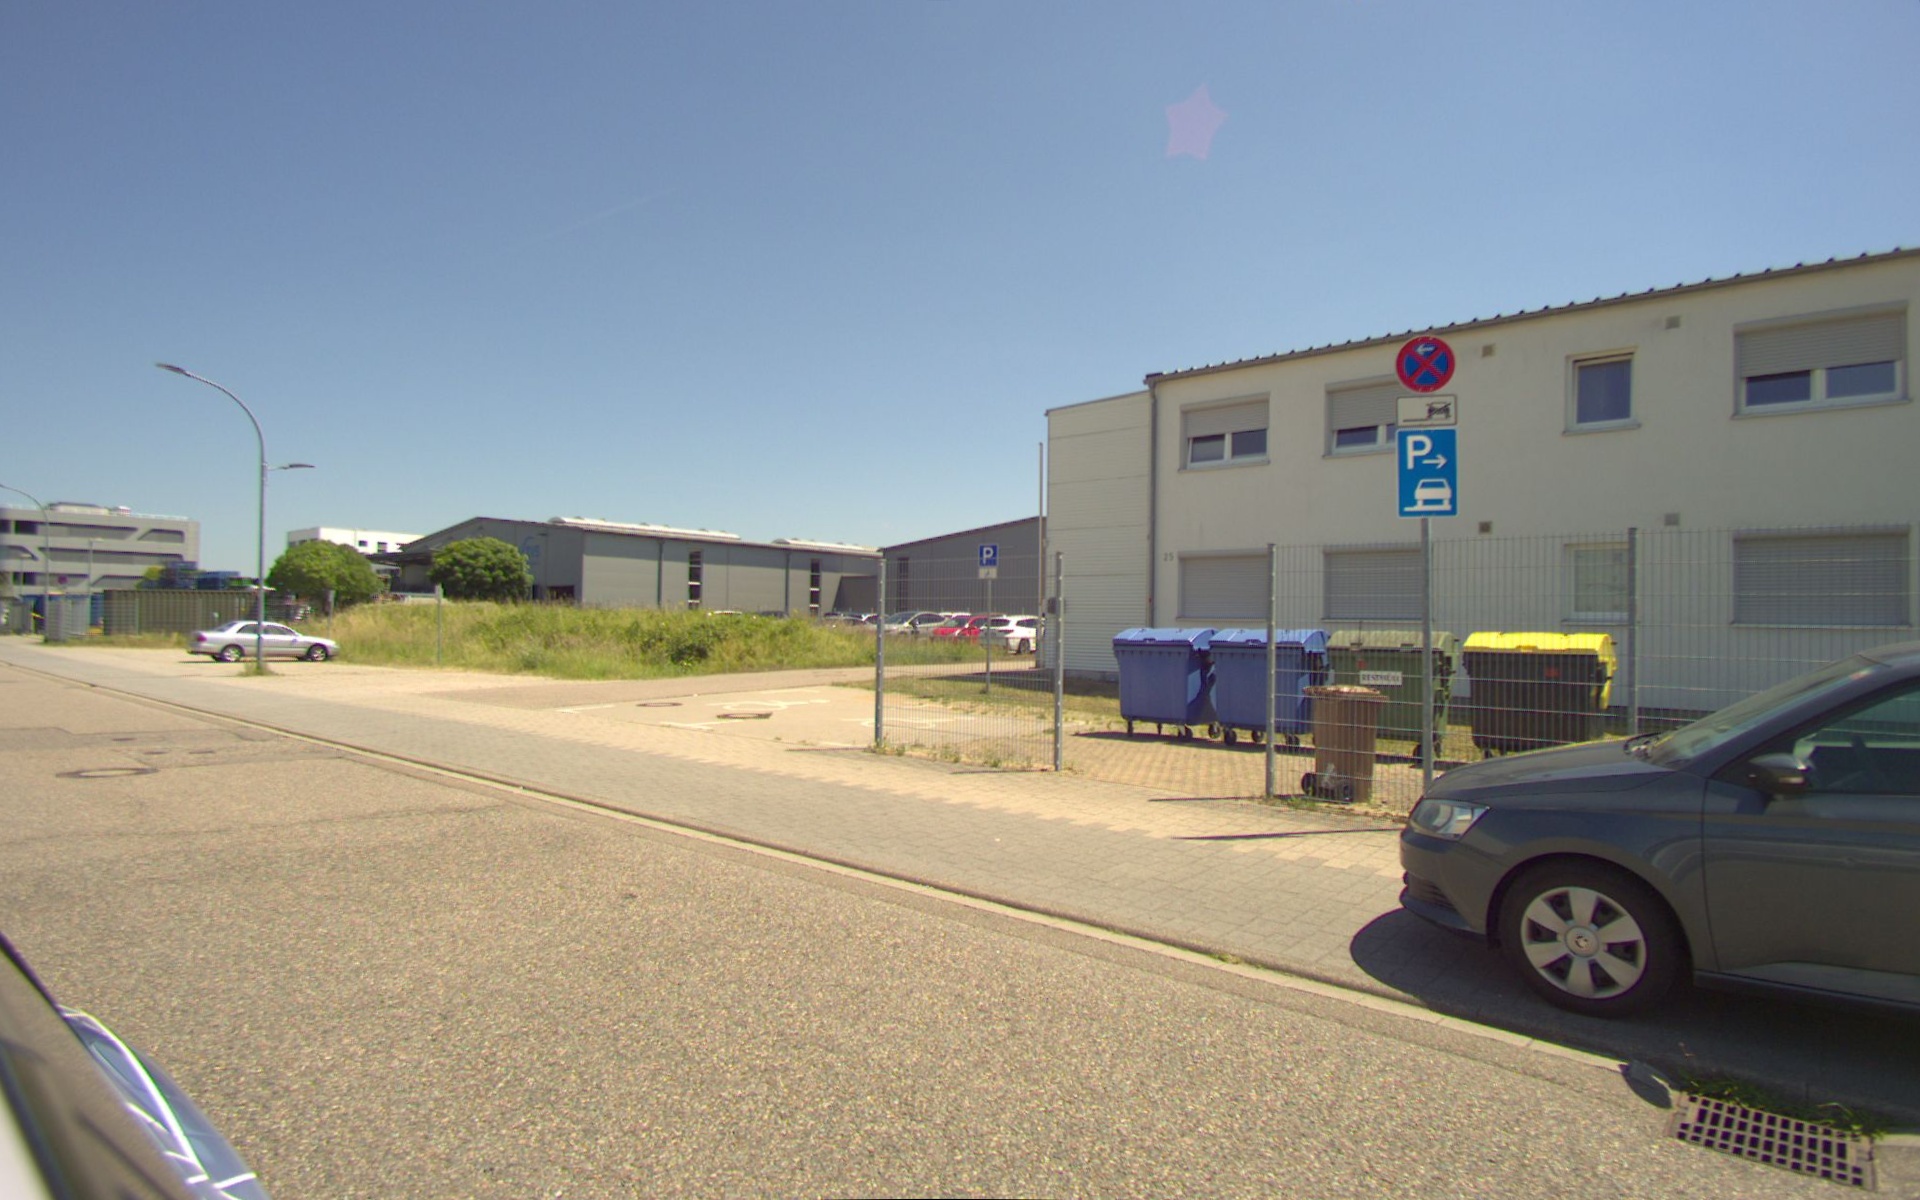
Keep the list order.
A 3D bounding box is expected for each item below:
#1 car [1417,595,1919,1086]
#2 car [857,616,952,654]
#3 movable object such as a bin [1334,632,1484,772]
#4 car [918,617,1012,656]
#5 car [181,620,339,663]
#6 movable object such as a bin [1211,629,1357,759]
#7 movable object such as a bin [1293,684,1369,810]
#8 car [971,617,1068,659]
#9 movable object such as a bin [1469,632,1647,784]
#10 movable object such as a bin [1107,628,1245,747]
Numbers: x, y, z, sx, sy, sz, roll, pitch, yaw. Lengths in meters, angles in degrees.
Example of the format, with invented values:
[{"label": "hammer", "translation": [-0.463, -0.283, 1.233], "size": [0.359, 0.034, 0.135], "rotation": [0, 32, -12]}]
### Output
[{"label": "car", "translation": [3.894, 0.767, 3.522], "size": [3.908, 1.541, 1.656], "rotation": [0, -1, 41]}, {"label": "car", "translation": [-2.255, 1.414, 41.777], "size": [1.737, 1.408, 3.839], "rotation": [0, 0, 40]}, {"label": "movable object such as a bin", "translation": [5.161, 1.108, 11.626], "size": [1.386, 1.459, 1.077], "rotation": [0, -2, 37]}, {"label": "car", "translation": [0.234, 1.436, 40.647], "size": [1.737, 1.408, 3.839], "rotation": [0, 0, 40]}, {"label": "car", "translation": [-24.328, 1.449, 35.289], "size": [1.862, 1.390, 4.201], "rotation": [-1, -3, 42]}, {"label": "movable object such as a bin", "translation": [3.985, 1.105, 12.460], "size": [1.371, 1.459, 1.112], "rotation": [0, -2, 44]}, {"label": "movable object such as a bin", "translation": [2.998, 1.170, 8.179], "size": [0.497, 0.947, 0.301], "rotation": [-1, -2, 44]}, {"label": "car", "translation": [2.289, 1.391, 38.362], "size": [1.737, 1.408, 3.839], "rotation": [0, 0, 40]}, {"label": "movable object such as a bin", "translation": [6.218, 1.058, 10.533], "size": [1.388, 1.416, 1.130], "rotation": [0, -2, 43]}, {"label": "movable object such as a bin", "translation": [2.876, 1.114, 13.501], "size": [1.434, 1.459, 1.130], "rotation": [0, -2, 44]}]
